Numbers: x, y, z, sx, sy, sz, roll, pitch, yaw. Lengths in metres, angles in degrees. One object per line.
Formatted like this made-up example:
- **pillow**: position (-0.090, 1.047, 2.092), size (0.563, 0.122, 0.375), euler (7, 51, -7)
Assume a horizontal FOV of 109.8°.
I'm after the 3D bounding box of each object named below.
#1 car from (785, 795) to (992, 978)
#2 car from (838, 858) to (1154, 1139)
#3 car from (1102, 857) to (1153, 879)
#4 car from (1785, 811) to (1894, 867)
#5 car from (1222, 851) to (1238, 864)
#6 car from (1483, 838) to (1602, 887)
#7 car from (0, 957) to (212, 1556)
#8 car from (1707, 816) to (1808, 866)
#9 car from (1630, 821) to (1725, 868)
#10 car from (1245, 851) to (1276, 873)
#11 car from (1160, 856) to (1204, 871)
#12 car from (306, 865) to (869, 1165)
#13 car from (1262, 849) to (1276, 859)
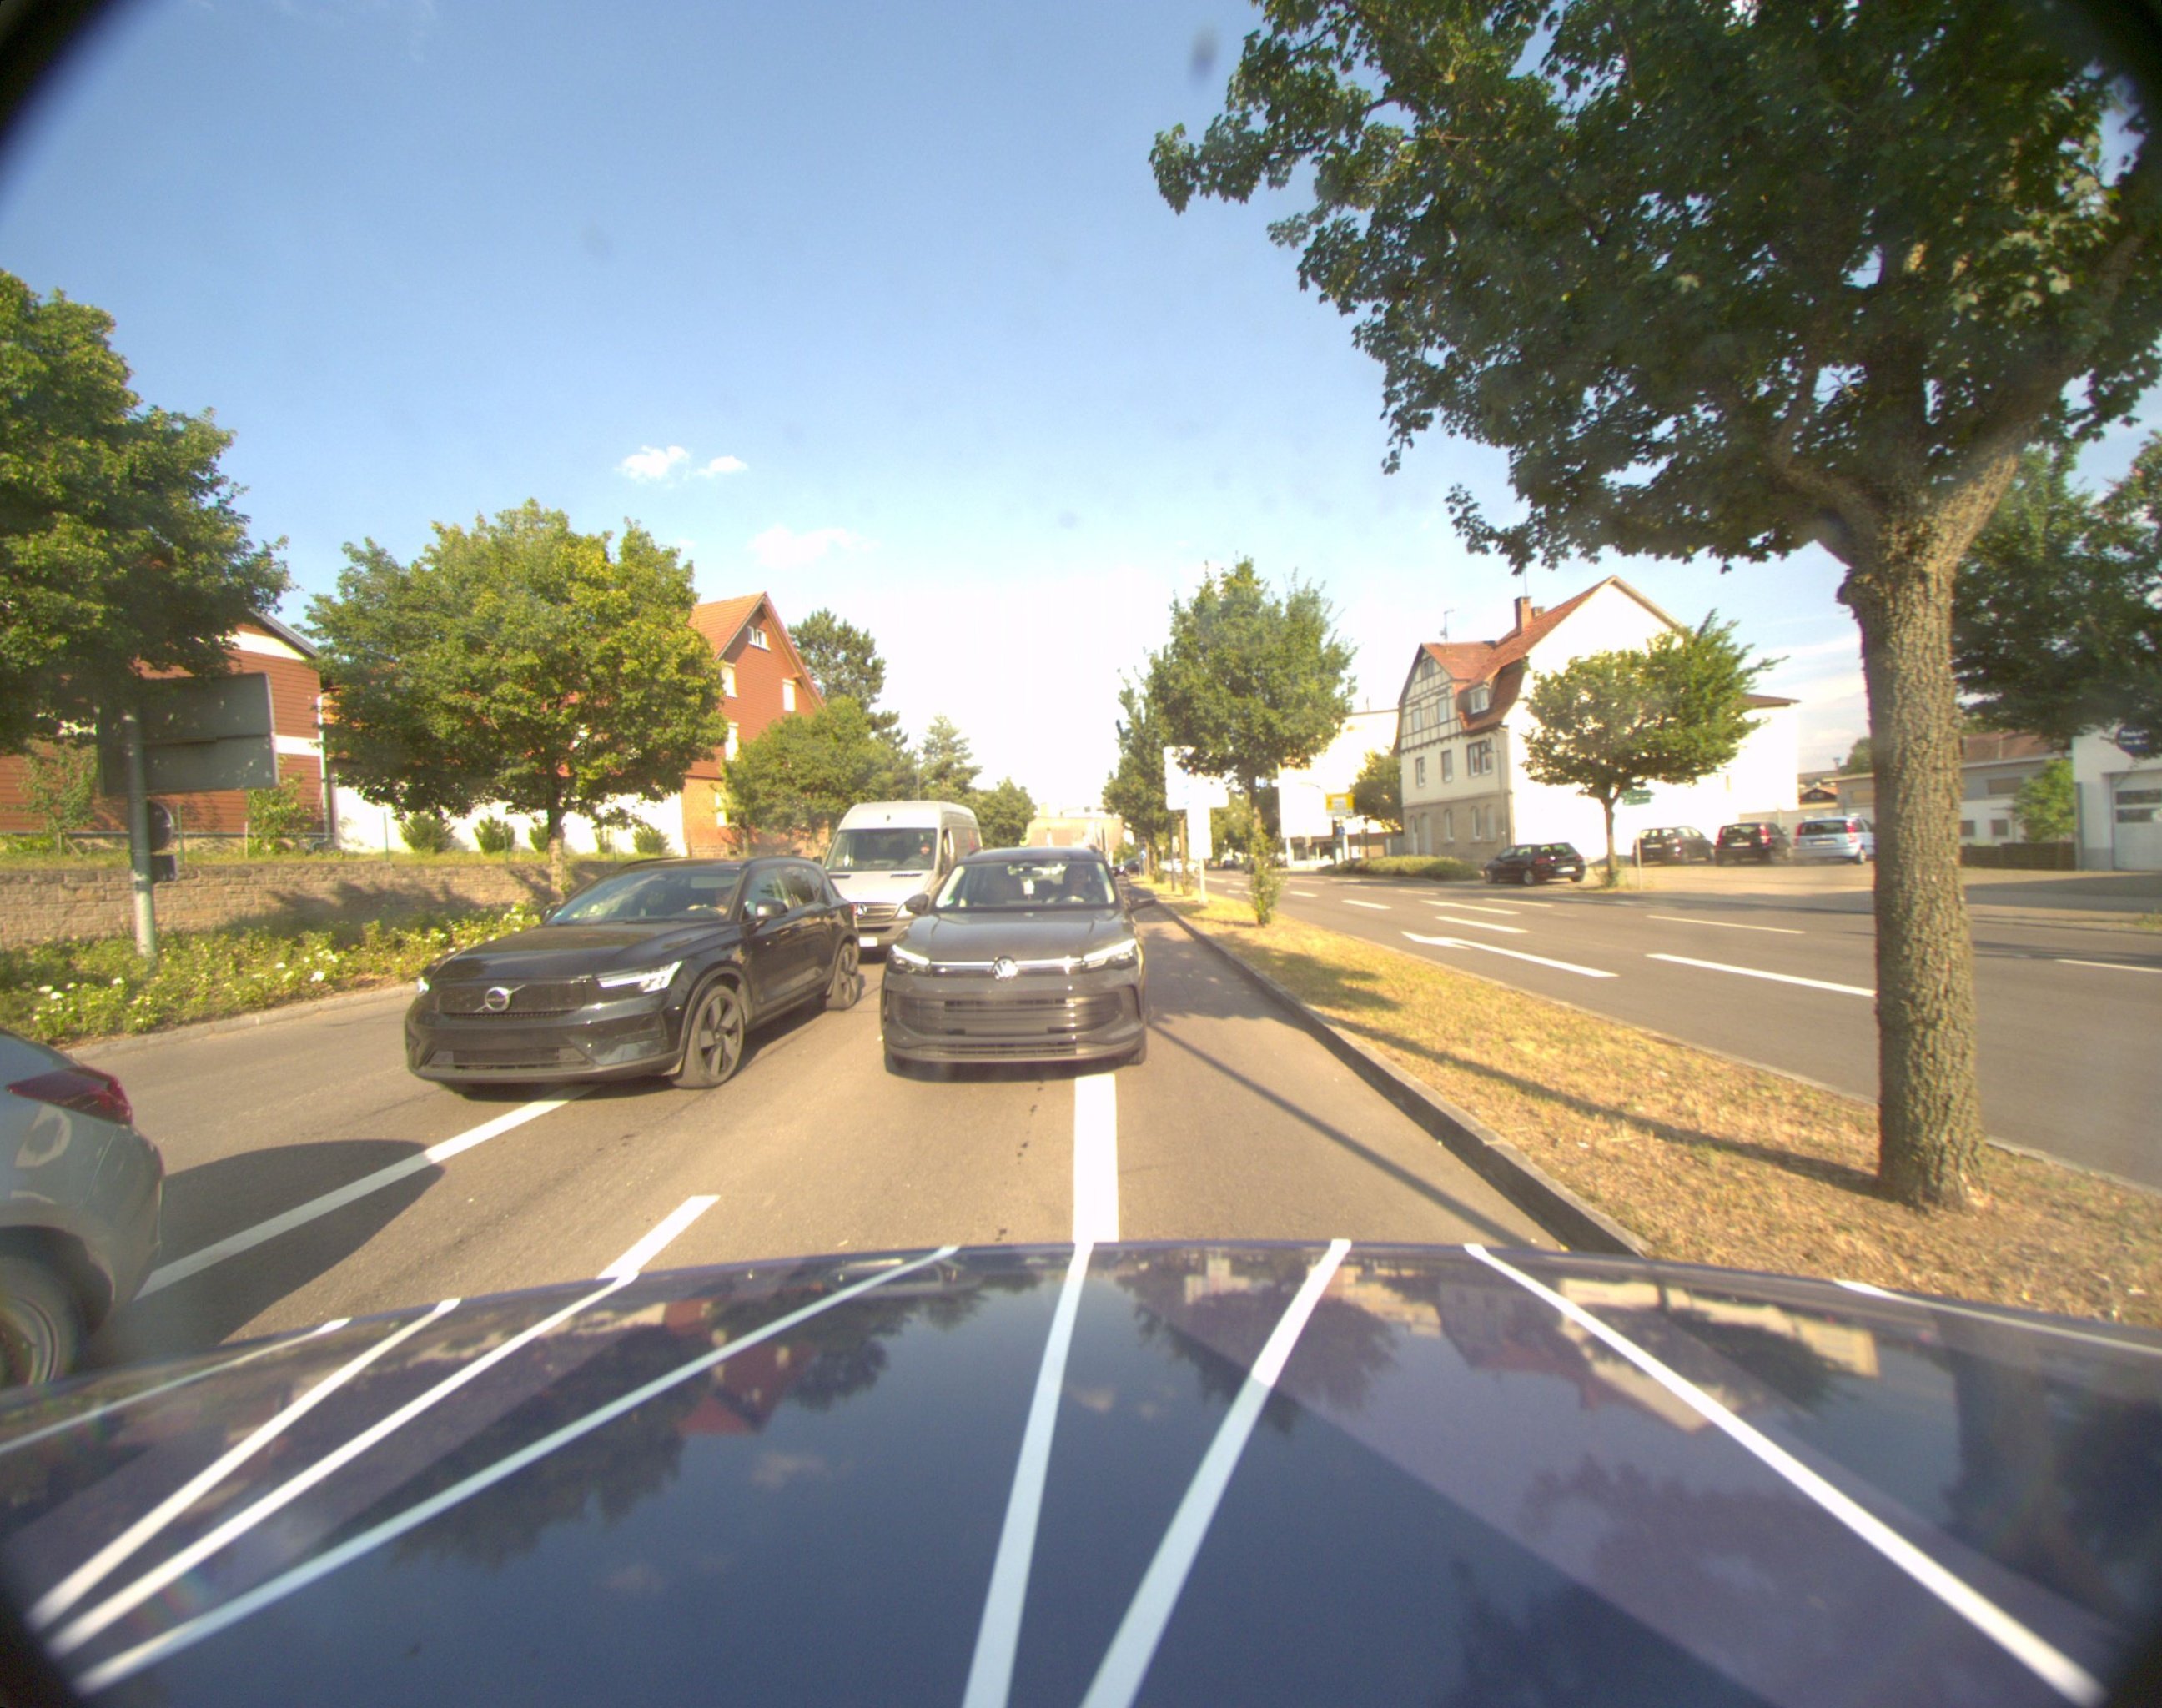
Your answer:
- **car**: position (-3.064, 0.453, 13.710), size (1.992, 2.554, 6.046), euler (-1, 0, 2)
- **car**: position (-0.444, 0.873, 6.638), size (1.845, 1.600, 4.318), euler (-1, 0, 2)
- **car**: position (3.972, 1.172, 65.364), size (4.005, 1.664, 1.783), euler (-2, 1, -29)
- **car**: position (24.888, -0.505, 24.909), size (3.830, 1.493, 1.816), euler (-5, 0, -35)
- **car**: position (20.444, 0.452, 104.172), size (1.779, 1.683, 4.004), euler (-2, 0, 14)
- **car**: position (16.041, 0.279, 26.637), size (1.818, 1.442, 3.825), euler (-5, 0, 1)
- **car**: position (-3.606, 1.062, 0.201), size (1.766, 1.445, 4.318), euler (-1, 0, 0)
- **car**: position (24.666, -0.492, 27.675), size (3.830, 1.493, 1.816), euler (-5, 0, -35)
- **car**: position (23.387, -0.394, 29.771), size (3.830, 1.493, 1.816), euler (-5, 0, -35)
- **car**: position (14.852, 0.644, 62.976), size (1.781, 1.683, 4.001), euler (-2, 0, 4)
- **car**: position (10.796, 1.001, 81.296), size (4.380, 1.460, 1.779), euler (-2, 0, -29)
- **car**: position (-3.391, 0.948, 6.449), size (1.845, 1.600, 4.318), euler (-1, 0, 2)
- **car**: position (32.404, -0.030, 130.689), size (1.779, 1.683, 4.006), euler (-2, 0, 21)
